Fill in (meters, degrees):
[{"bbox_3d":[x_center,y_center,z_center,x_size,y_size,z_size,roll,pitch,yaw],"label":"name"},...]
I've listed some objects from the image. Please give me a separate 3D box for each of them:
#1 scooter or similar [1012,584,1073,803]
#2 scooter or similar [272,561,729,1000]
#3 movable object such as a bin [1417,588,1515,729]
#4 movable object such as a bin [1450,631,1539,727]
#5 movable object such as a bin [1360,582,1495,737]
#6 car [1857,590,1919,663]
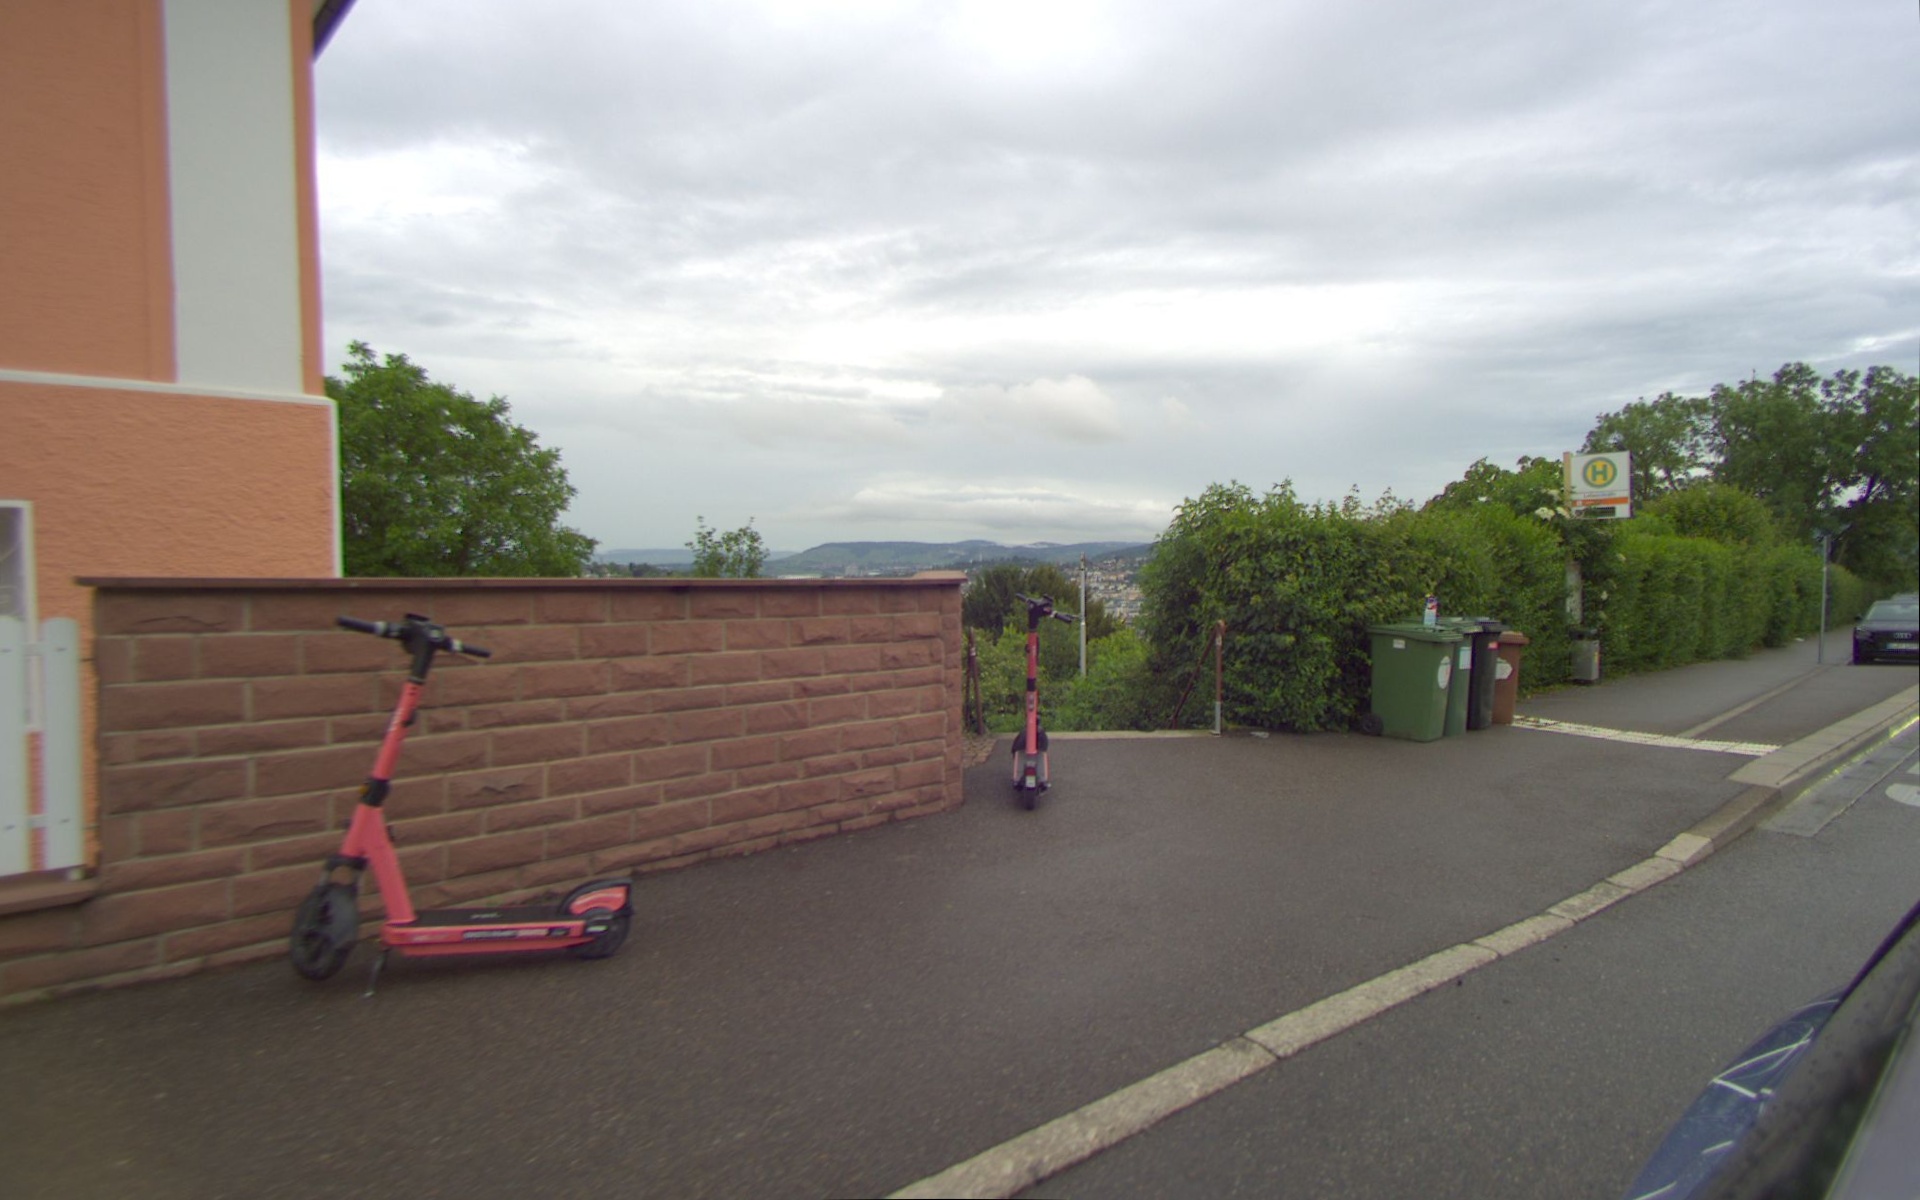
[{"bbox_3d":[0.573,0.558,6.768,0.350,1.288,1.292,0,2,7],"label":"scooter or similar"},{"bbox_3d":[-1.606,0.576,3.692,1.447,1.420,0.357,0,0,-20],"label":"scooter or similar"},{"bbox_3d":[4.779,0.522,9.557,0.672,1.261,0.613,0,0,-41],"label":"movable object such as a bin"},{"bbox_3d":[5.274,0.759,9.984,0.579,0.874,0.613,0,0,-41],"label":"movable object such as a bin"},{"bbox_3d":[4.170,0.492,9.028,0.901,1.261,0.726,0,4,-41],"label":"movable object such as a bin"},{"bbox_3d":[22.486,0.573,23.752,3.935,1.606,1.924,-1,1,-45],"label":"car"}]
